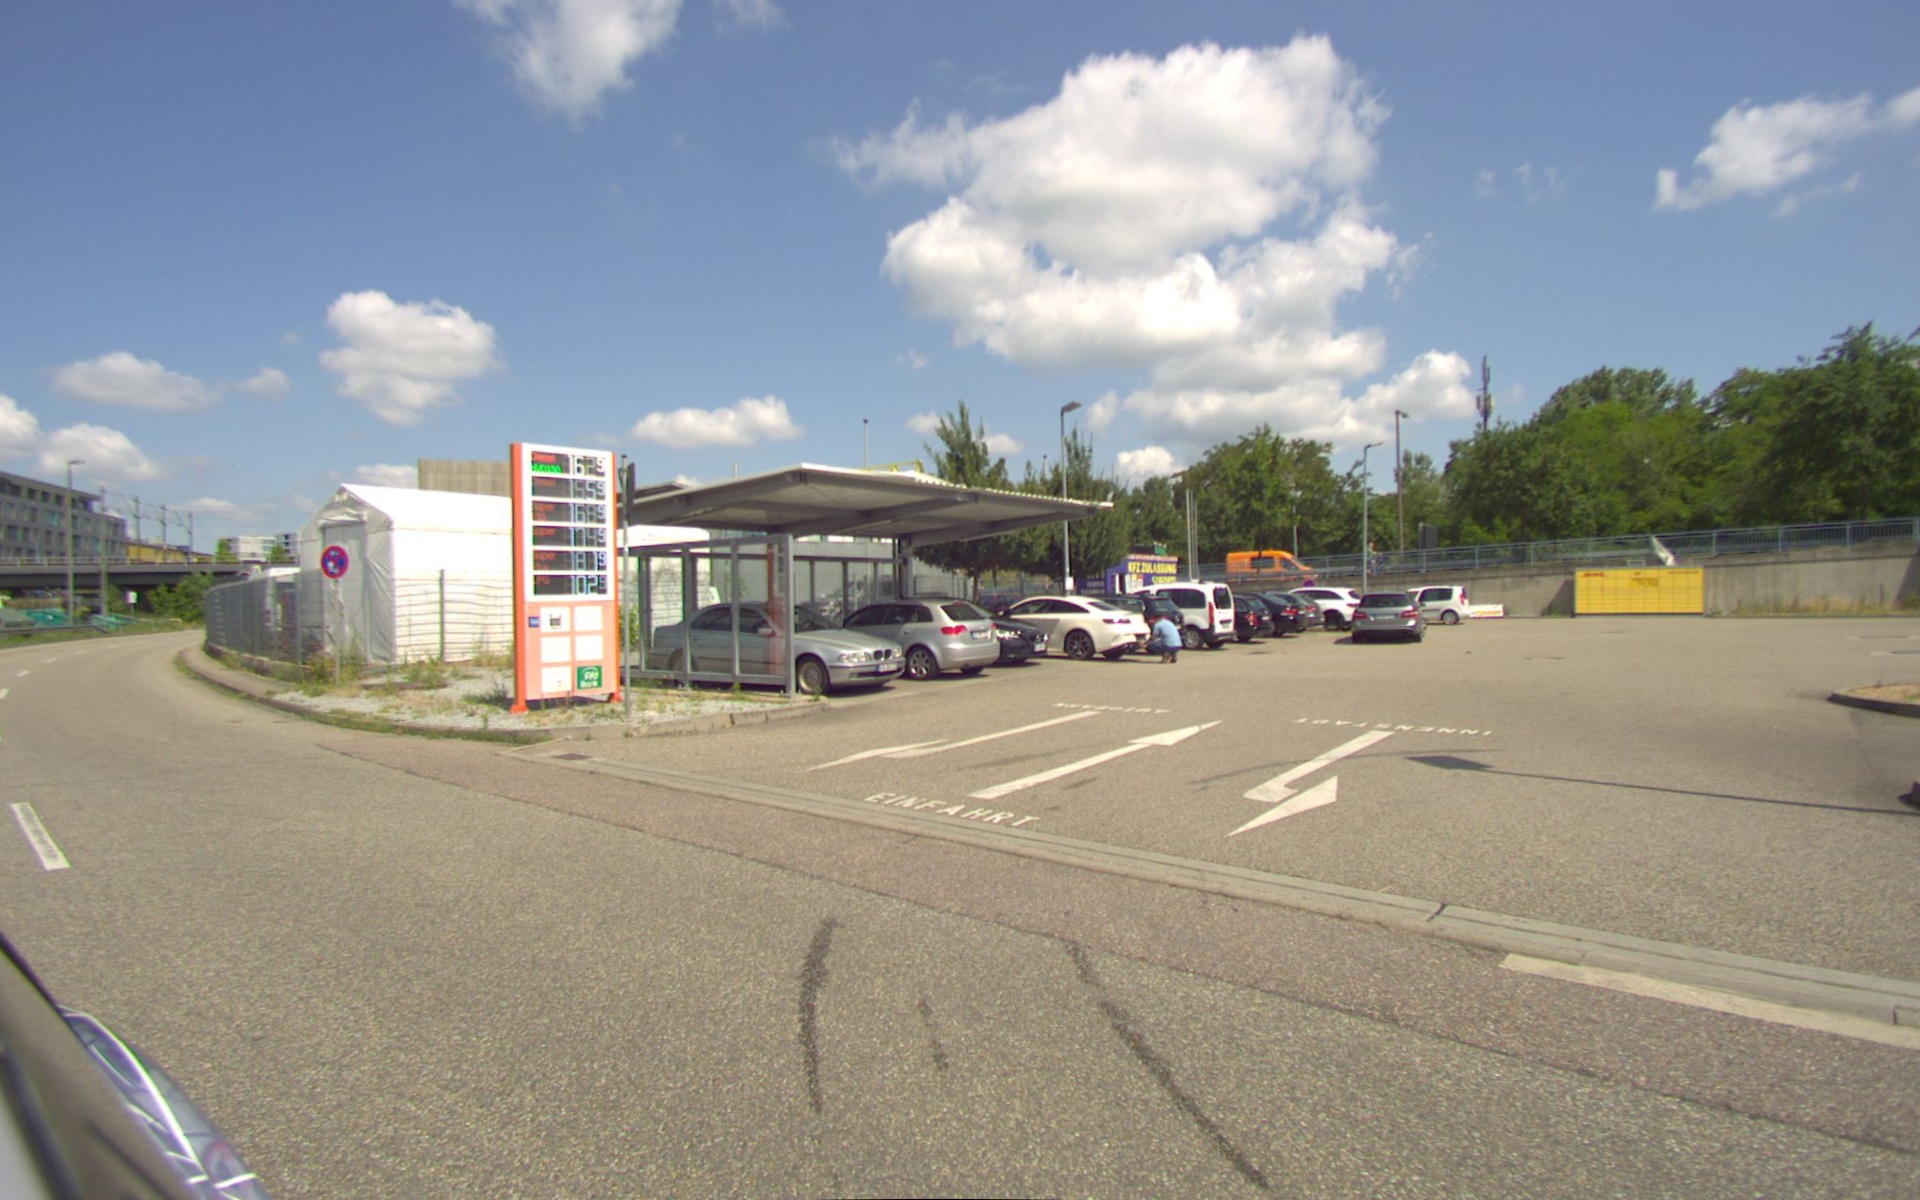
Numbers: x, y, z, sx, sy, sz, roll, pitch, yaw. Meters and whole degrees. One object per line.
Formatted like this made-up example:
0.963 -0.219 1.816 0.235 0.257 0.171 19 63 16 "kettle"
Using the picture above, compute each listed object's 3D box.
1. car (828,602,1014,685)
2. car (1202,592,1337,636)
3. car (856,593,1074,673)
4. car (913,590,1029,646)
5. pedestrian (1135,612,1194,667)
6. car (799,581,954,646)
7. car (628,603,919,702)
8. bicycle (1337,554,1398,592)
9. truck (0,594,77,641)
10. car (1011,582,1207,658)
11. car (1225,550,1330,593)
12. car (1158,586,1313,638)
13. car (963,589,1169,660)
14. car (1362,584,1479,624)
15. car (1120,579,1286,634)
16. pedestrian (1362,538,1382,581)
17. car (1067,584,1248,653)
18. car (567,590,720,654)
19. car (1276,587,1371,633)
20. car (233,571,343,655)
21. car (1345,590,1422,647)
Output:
-0.735 0.737 18.409 3.049 1.355 1.580 -1 1 36 "car"
11.112 0.497 36.407 4.283 1.502 1.868 -1 0 36 "car"
0.056 0.659 21.249 4.243 1.509 1.976 -1 0 36 "car"
0.494 0.657 38.990 1.997 2.029 4.793 -1 0 38 "car"
4.326 0.816 21.417 0.996 1.134 0.801 -1 -1 35 "pedestrian"
-2.723 0.416 34.453 1.997 2.029 5.629 -1 0 38 "car"
-3.170 0.789 16.852 4.777 1.388 1.902 -1 1 33 "car"
19.738 -1.280 49.096 2.683 1.763 0.529 -1 -1 32 "bicycle"
-64.354 1.191 69.372 5.418 3.121 2.007 0 0 -23 "truck"
3.733 0.493 25.833 4.591 1.780 1.974 -1 -1 38 "car"
18.571 -1.633 59.361 5.540 2.274 1.979 -2 1 31 "car"
9.131 0.406 33.669 4.588 1.610 1.976 -1 0 36 "car"
2.349 0.527 22.947 4.307 1.448 1.873 -1 0 36 "car"
19.407 0.171 42.693 4.298 1.615 1.979 -1 0 32 "car"
7.416 0.203 31.088 4.588 1.564 1.976 -1 0 36 "car"
19.952 -1.955 48.996 0.766 2.009 0.585 -1 -1 31 "pedestrian"
5.501 0.495 28.431 4.588 1.791 1.976 -1 0 36 "car"
-9.646 0.636 31.073 4.341 1.846 2.006 0 0 -15 "car"
13.629 0.380 38.015 3.117 1.637 1.256 -1 -1 36 "car"
-22.732 0.449 34.082 2.093 2.556 6.725 0 -1 -42 "car"
12.582 0.487 29.902 1.912 1.499 4.493 -1 1 25 "car"
